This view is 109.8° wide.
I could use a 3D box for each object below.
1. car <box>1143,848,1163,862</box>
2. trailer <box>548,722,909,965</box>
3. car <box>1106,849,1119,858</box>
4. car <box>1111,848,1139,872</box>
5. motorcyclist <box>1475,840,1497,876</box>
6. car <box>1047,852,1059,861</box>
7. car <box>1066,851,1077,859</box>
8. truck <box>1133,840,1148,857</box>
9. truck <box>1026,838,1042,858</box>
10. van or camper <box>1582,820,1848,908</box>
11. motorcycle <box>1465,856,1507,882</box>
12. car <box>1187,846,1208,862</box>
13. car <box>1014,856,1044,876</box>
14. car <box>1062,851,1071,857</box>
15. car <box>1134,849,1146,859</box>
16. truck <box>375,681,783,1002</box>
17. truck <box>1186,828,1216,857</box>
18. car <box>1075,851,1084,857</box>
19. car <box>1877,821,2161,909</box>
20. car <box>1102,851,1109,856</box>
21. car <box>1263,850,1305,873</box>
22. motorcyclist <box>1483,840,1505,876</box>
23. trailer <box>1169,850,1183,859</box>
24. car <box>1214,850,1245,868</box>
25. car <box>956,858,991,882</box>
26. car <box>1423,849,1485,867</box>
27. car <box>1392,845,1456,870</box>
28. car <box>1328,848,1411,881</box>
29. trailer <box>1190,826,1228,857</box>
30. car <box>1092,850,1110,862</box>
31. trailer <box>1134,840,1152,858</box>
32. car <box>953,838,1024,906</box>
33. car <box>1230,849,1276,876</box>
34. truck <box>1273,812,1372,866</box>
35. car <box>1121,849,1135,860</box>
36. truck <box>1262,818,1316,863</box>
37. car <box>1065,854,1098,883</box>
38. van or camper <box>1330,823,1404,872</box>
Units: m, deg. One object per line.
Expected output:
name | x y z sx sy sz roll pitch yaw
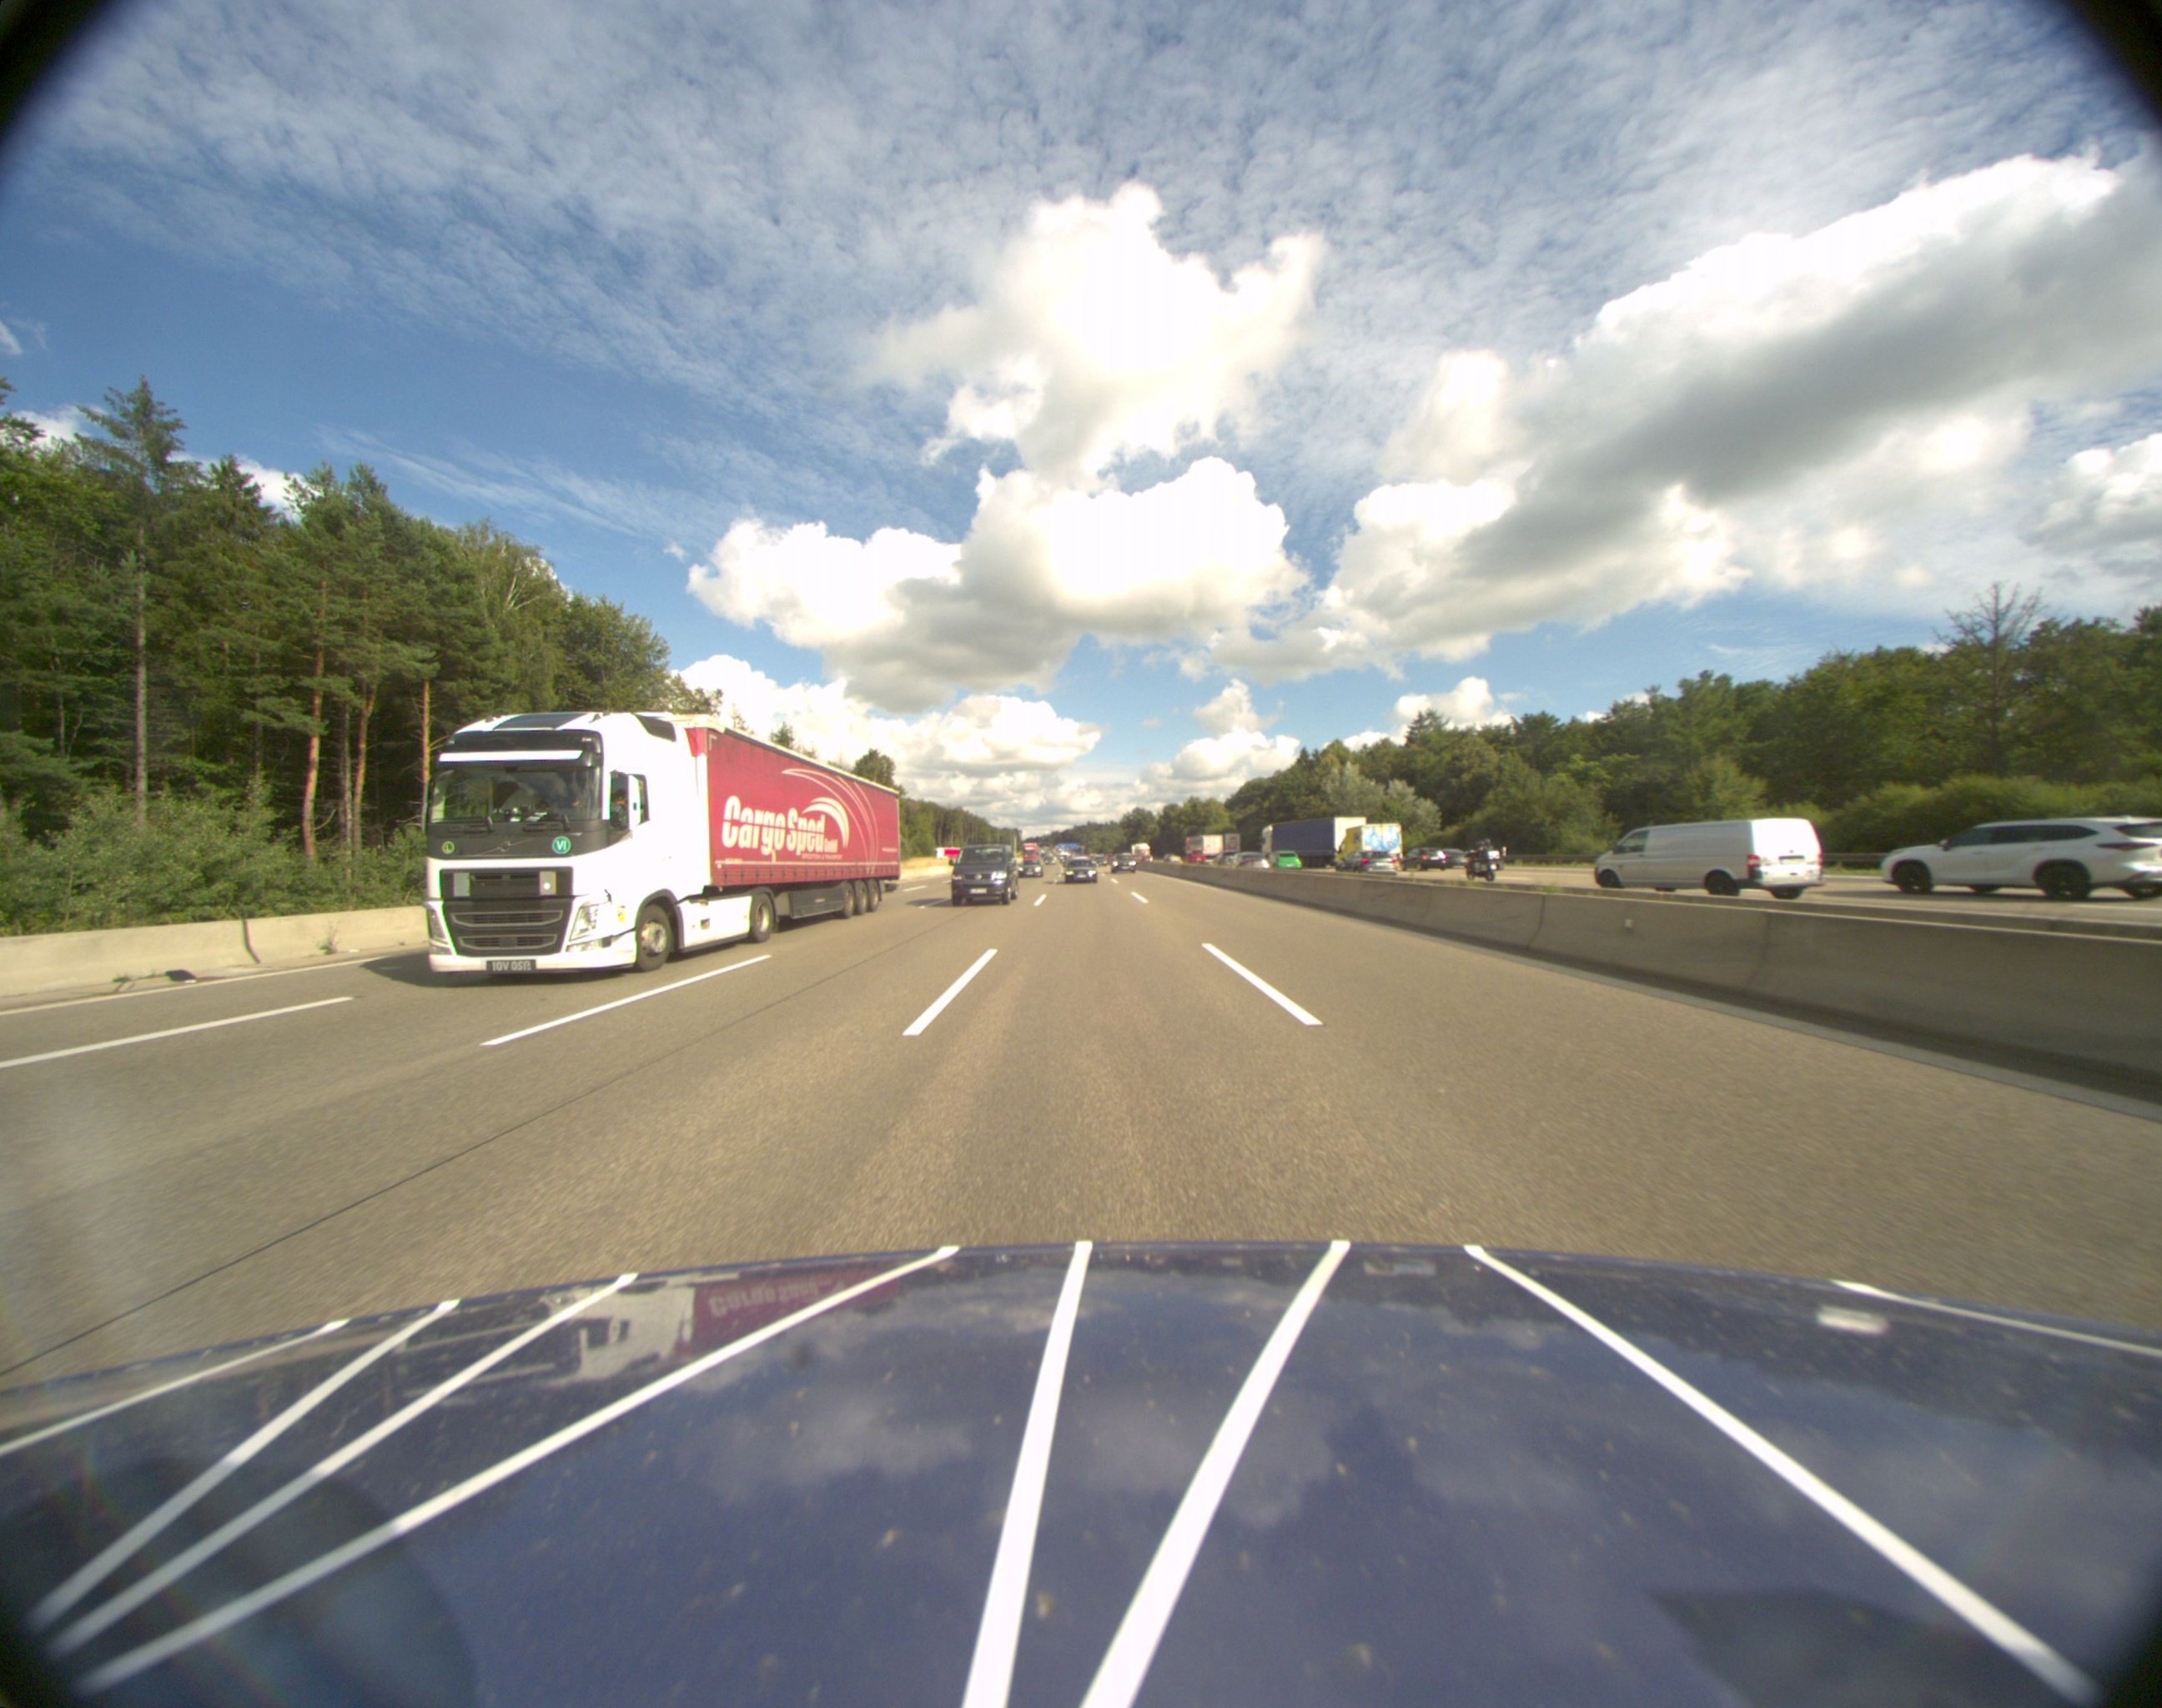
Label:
car | 10.139 0.187 107.750 2.177 1.867 5.360 -2 0 -2
trailer | -7.484 -0.183 19.669 2.781 4.021 13.712 -2 0 0
car | 6.850 -0.113 165.935 2.161 1.690 5.349 -2 0 -3
car | 3.672 0.472 64.647 2.152 1.800 5.099 -2 1 1
motorcyclist | 16.959 0.156 31.801 0.604 1.467 0.532 -2 1 1
car | -5.185 0.477 141.829 2.153 1.540 4.675 -2 0 -3
car | -1.955 0.159 153.636 2.153 1.540 4.675 -2 0 -3
truck | 14.123 -1.275 181.897 2.795 3.922 6.444 -2 0 -2
truck | -9.081 -1.106 147.876 3.019 3.662 7.558 -1 0 -4
van or camper | 16.066 0.217 19.808 1.999 1.926 5.454 -2 0 -6
motorcycle | 16.973 0.620 31.886 0.611 1.034 2.175 -2 0 1
car | 14.108 0.026 92.187 1.851 1.929 5.033 0 0 1
car | -3.995 0.873 59.057 2.153 1.426 5.097 -2 0 -3
car | -3.529 0.007 186.207 2.153 1.540 4.675 -2 0 -3
car | 11.821 -0.041 152.324 1.854 1.867 4.614 -2 0 -2
truck | -7.544 -0.162 12.605 2.781 4.021 5.773 -2 0 0
truck | 16.834 -1.621 107.060 2.975 3.835 6.764 -2 0 0
car | -0.406 -0.072 192.938 2.153 1.540 4.675 -2 0 -3
car | 21.544 0.186 17.115 2.177 1.674 4.785 -2 0 0
car | 7.694 -0.259 241.038 1.860 1.551 4.283 -2 0 -2
car | 13.839 0.482 51.998 1.788 1.462 4.330 0 0 0
motorcyclist | 16.941 0.164 31.189 0.604 1.467 0.532 -2 1 1
trailer | 15.942 0.096 127.798 1.539 1.394 4.178 -2 0 -3
car | 13.746 0.463 70.741 1.849 1.586 4.912 0 0 -1
car | -6.998 1.000 49.704 1.654 1.433 4.000 -2 0 0
car | 25.145 0.267 51.449 1.940 1.125 4.786 -2 0 1
car | 21.697 0.192 48.256 2.059 1.462 4.404 -2 0 0
car | 13.979 0.475 37.096 2.177 1.462 4.785 -2 0 0
trailer | 16.908 -1.556 101.438 2.975 3.835 11.279 -2 0 0
car | 2.779 0.264 105.669 2.153 1.540 4.675 -2 0 -3
trailer | 14.308 -1.208 175.829 2.795 3.922 12.250 -2 0 -1
car | -3.122 0.557 26.574 1.854 2.097 4.931 -2 0 -1
car | 10.355 0.475 45.949 1.867 1.543 4.662 -2 0 2
truck | 20.259 -1.173 65.079 2.828 4.070 13.837 -2 0 -5
car | 8.207 0.084 132.800 1.854 1.867 4.614 -2 0 -2
truck | 19.528 -1.226 71.749 2.828 4.070 6.058 -2 0 -6
car | 0.050 0.788 43.770 1.733 1.500 4.728 -2 0 0
van or camper | 17.748 -0.383 47.585 2.379 2.875 6.506 0 0 2
